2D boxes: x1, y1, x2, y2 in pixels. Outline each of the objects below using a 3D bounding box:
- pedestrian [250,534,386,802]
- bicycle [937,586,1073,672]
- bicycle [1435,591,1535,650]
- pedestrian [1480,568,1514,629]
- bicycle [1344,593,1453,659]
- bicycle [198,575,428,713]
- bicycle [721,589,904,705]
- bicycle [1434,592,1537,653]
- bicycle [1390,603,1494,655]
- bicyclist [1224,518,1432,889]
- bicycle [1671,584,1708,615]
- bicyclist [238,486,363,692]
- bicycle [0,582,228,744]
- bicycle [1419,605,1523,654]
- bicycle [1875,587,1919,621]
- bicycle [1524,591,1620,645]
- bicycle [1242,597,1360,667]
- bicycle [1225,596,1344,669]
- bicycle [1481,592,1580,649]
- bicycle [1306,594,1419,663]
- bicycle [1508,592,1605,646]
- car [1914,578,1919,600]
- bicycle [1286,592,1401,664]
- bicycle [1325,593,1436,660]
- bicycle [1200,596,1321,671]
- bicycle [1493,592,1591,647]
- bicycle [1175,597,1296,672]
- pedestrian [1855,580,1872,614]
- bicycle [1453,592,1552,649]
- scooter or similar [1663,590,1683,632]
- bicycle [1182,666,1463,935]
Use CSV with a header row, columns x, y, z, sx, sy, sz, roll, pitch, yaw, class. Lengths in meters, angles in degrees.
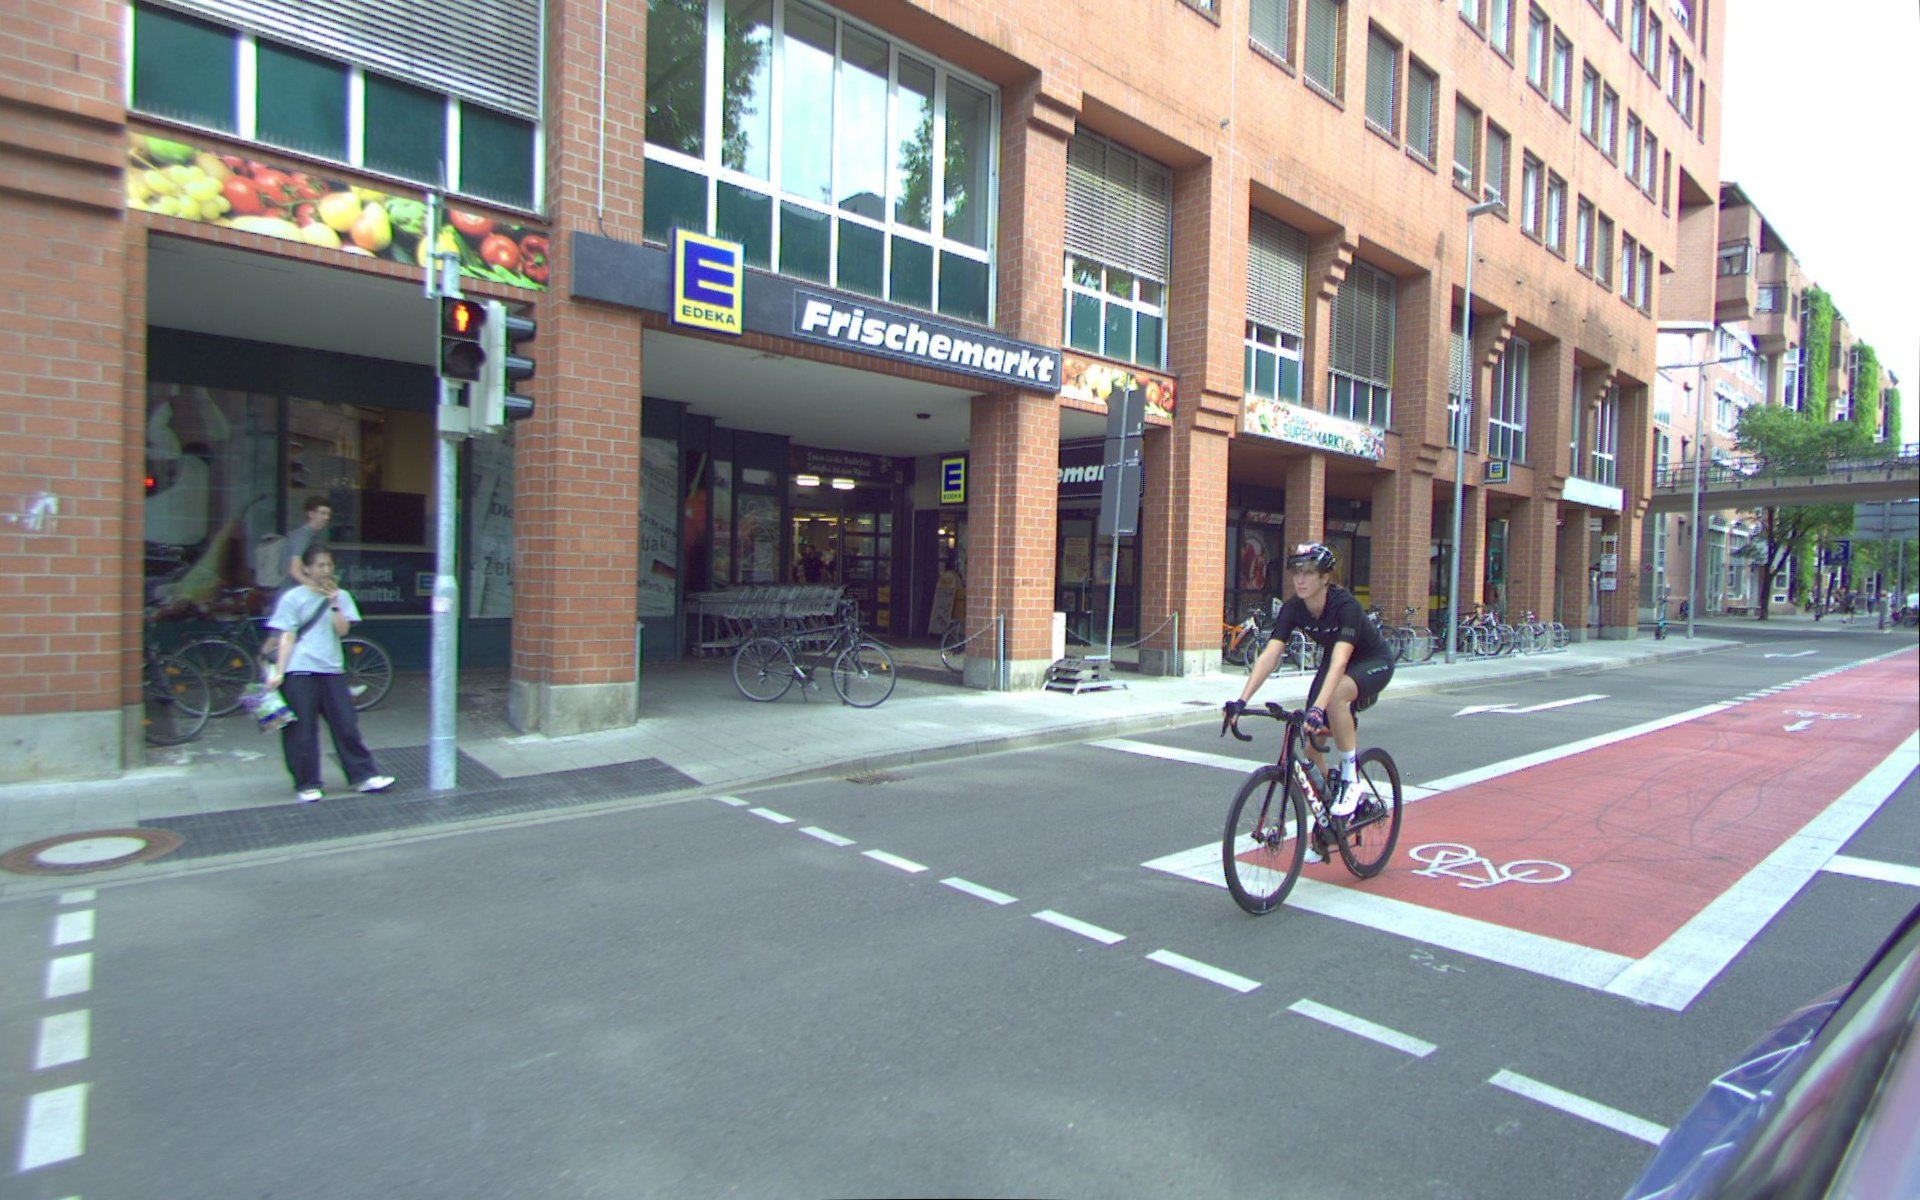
x,y,z,sx,sy,sz,roll,pitch,yaw,class
-4.183,0.413,6.611,0.718,1.651,0.408,0,3,-34,pedestrian
0.614,0.397,14.156,1.828,1.097,0.485,2,3,-1,bicycle
11.550,0.430,22.328,0.525,1.154,1.859,0,3,-40,bicycle
16.165,-0.040,30.472,0.767,1.799,0.614,0,2,-41,pedestrian
8.427,0.472,19.514,0.525,1.125,1.859,0,3,-40,bicycle
-5.960,0.390,9.380,1.716,1.096,0.631,4,5,-1,bicycle
-1.535,0.484,10.702,1.828,1.097,0.630,2,3,-1,bicycle
11.165,0.457,21.559,0.525,1.154,1.859,0,3,-40,bicycle
9.860,0.573,20.762,0.525,0.904,1.859,0,3,-40,bicycle
1.797,0.447,4.938,0.832,1.624,0.613,0,0,-39,bicyclist
33.757,-0.034,46.804,2.928,1.407,0.746,0,2,-42,bicycle
-6.071,-0.118,9.343,0.751,1.800,0.622,3,4,-1,bicyclist
-6.624,0.467,7.606,1.713,1.096,0.632,2,5,-16,bicycle
10.649,0.597,21.150,0.525,0.881,1.859,0,3,-40,bicycle
43.044,0.187,45.594,0.755,1.456,2.584,0,2,-39,bicycle
14.658,0.413,24.267,0.525,1.154,1.859,0,3,-40,bicycle
5.760,0.513,17.186,0.525,1.053,1.859,0,3,-40,bicycle
5.314,0.508,16.674,0.525,1.053,1.859,0,3,-40,bicycle
12.915,0.435,22.957,0.525,1.154,1.859,0,3,-40,bicycle
7.327,0.493,18.499,0.525,1.125,1.859,0,3,-40,bicycle
14.024,0.420,23.838,0.525,1.154,1.859,0,3,-40,bicycle
71.449,-0.786,74.026,3.930,1.621,1.956,-1,3,-41,car
6.782,0.466,17.996,0.525,1.125,1.859,0,3,-40,bicycle
7.909,0.478,19.100,0.525,1.125,1.859,0,3,-40,bicycle
4.784,0.506,16.223,0.525,1.053,1.859,0,3,-40,bicycle
13.439,0.427,23.398,0.525,1.154,1.859,0,3,-40,bicycle
4.287,0.508,15.862,0.499,1.053,1.858,0,2,-40,bicycle
44.785,-0.159,50.181,0.601,1.675,0.515,0,2,-41,pedestrian
12.138,0.429,22.686,0.525,1.154,1.859,0,3,-40,bicycle
21.663,0.330,30.744,0.905,1.273,0.272,0,2,-41,scooter or similar
1.831,0.886,4.976,1.716,1.013,0.488,-1,0,-39,bicycle
